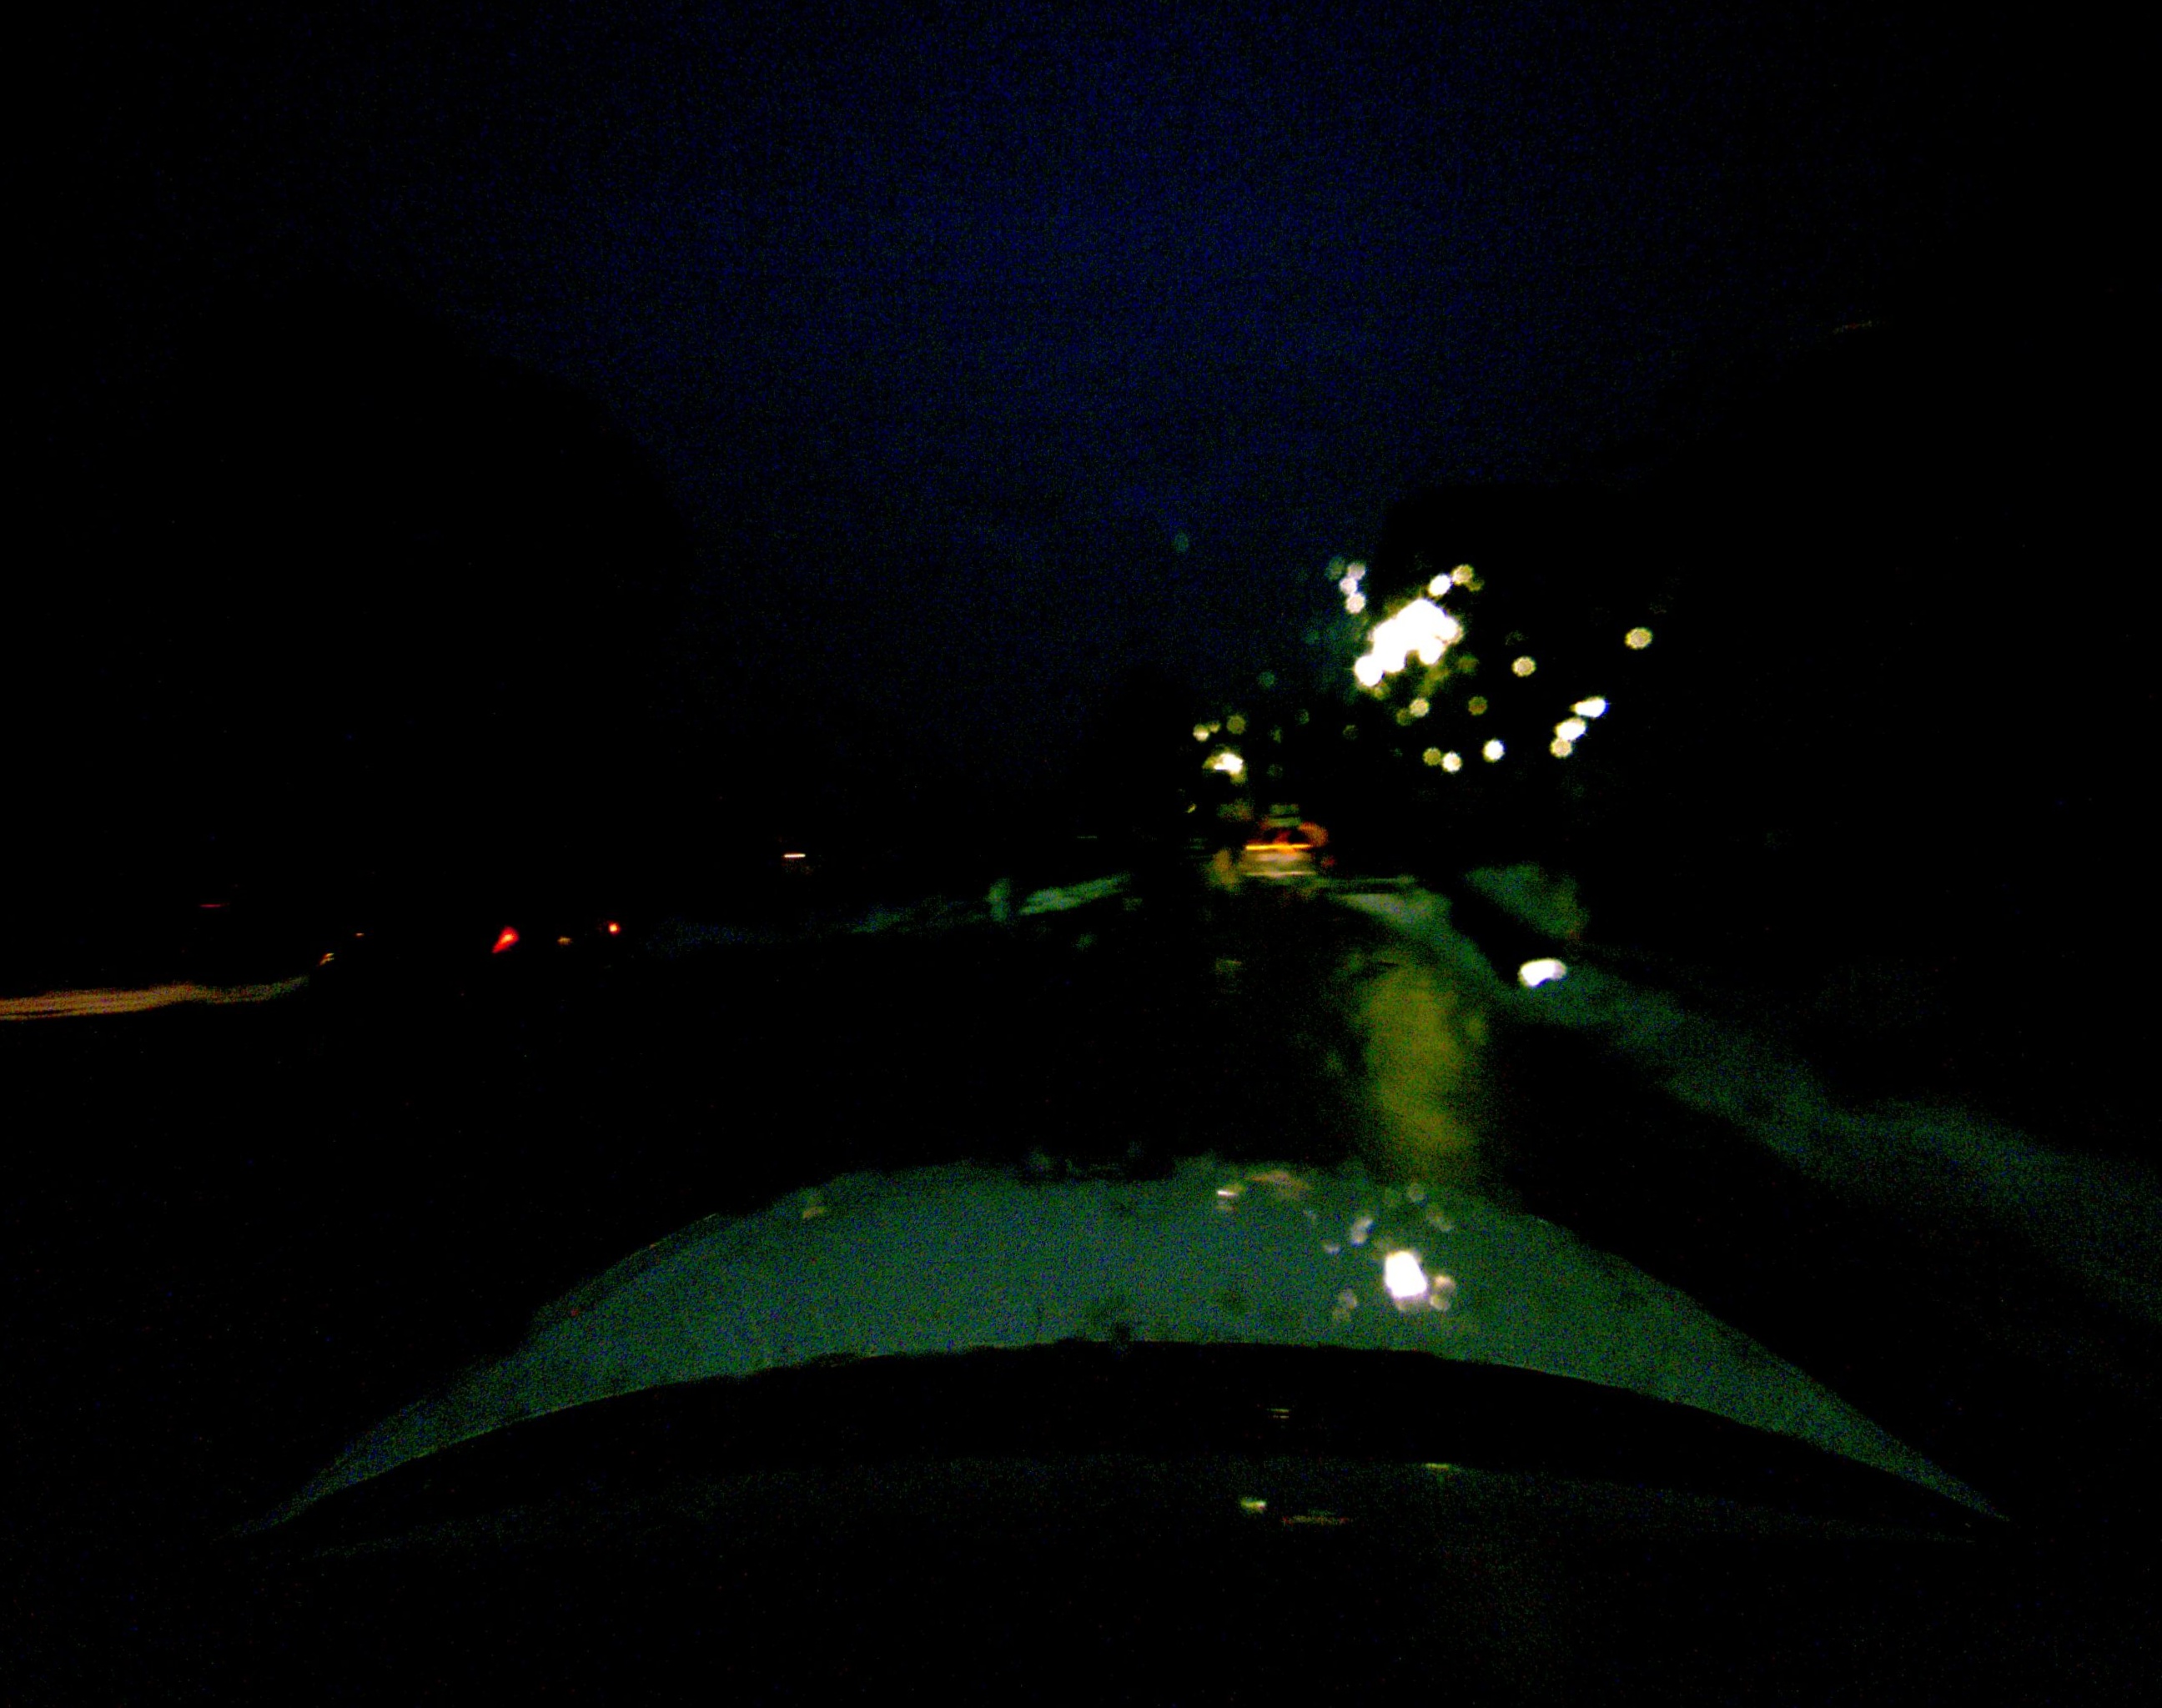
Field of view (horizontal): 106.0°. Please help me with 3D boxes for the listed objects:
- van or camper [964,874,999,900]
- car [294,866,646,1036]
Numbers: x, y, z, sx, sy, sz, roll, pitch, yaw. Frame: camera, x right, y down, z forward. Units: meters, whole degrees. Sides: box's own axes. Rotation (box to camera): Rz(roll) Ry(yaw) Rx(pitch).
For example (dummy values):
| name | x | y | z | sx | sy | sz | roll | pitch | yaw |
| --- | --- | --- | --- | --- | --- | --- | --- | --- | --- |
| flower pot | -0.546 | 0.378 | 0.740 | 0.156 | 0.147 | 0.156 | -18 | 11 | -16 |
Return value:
| name | x | y | z | sx | sy | sz | roll | pitch | yaw |
| --- | --- | --- | --- | --- | --- | --- | --- | --- | --- |
| van or camper | -4.469 | 1.496 | 36.309 | 1.284 | 1.102 | 3.258 | 0 | -3 | -12 |
| car | -7.574 | 1.146 | 10.169 | 3.536 | 1.797 | 1.837 | -3 | -2 | 20 |
